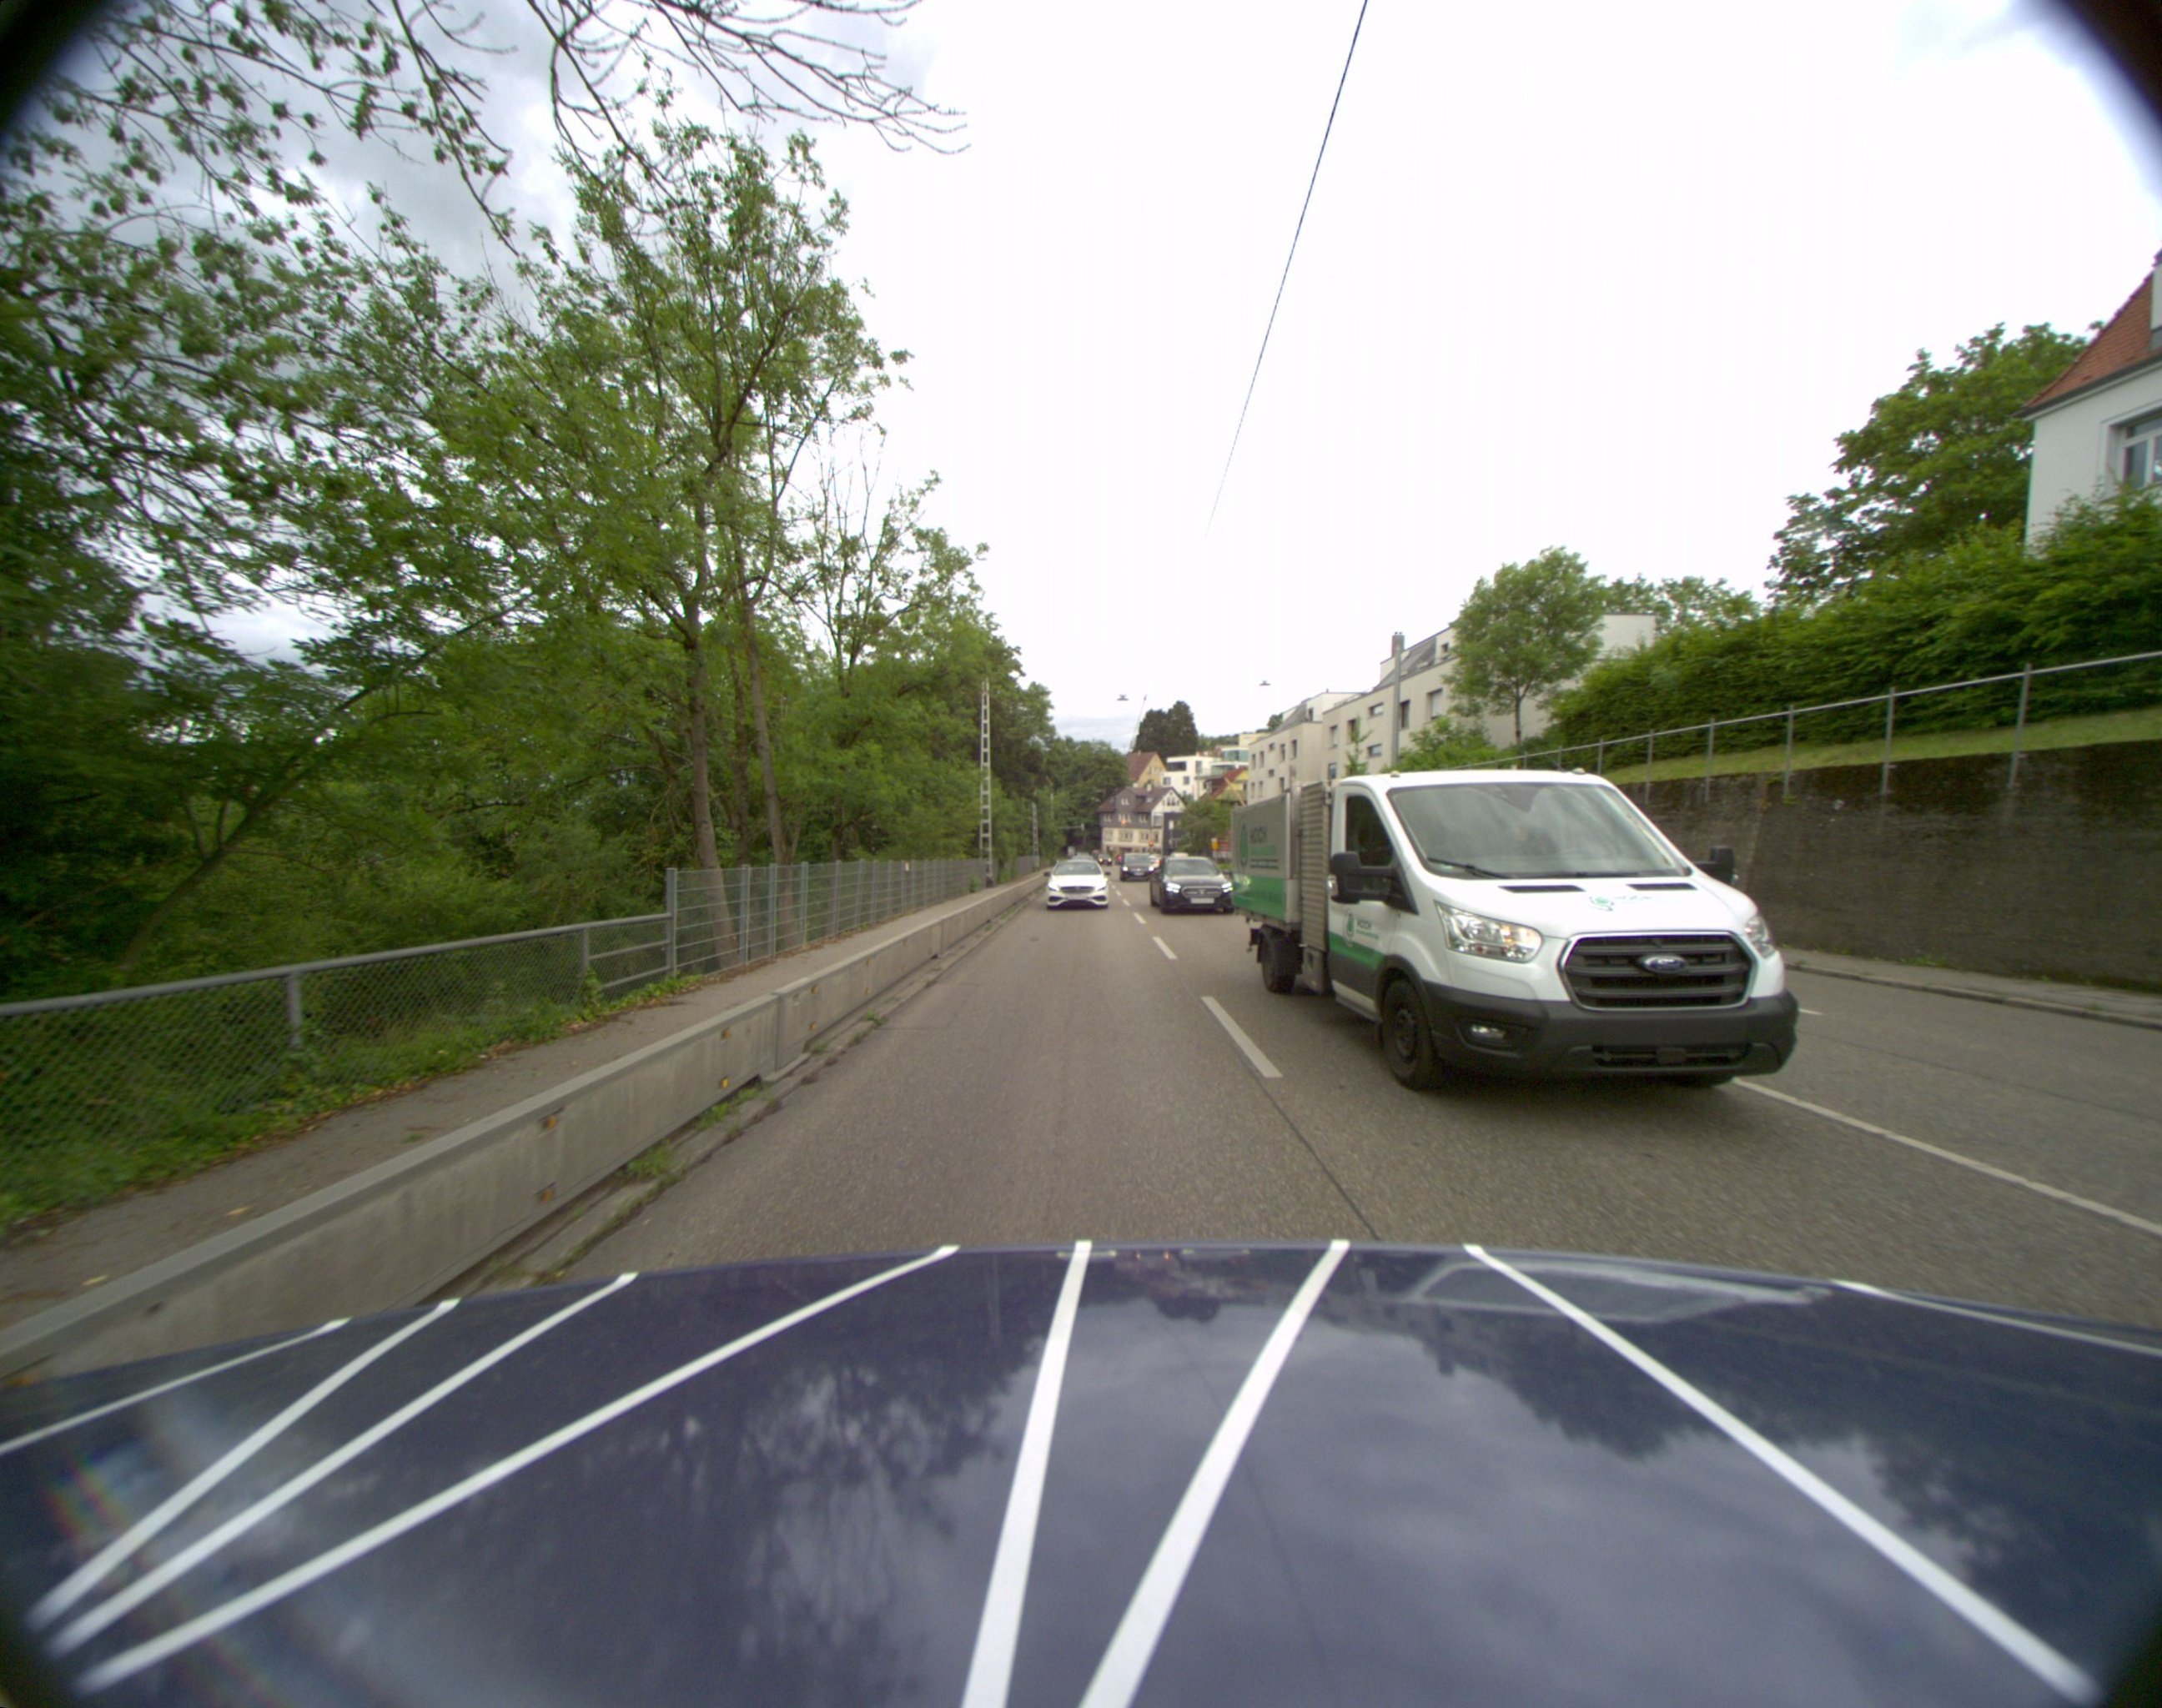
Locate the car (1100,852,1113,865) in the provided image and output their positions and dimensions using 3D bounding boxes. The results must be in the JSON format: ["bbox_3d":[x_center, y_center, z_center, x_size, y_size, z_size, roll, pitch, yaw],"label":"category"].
[{"bbox_3d":[3.364,0.565,101.519,1.709,1.702,3.868,0,0,1],"label":"car"}]

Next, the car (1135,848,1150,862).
[{"bbox_3d":[8.760,0.107,108.316,1.743,1.873,3.743,0,0,1],"label":"car"}]

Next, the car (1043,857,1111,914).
[{"bbox_3d":[-0.037,0.885,23.145,1.809,1.521,4.001,-1,1,3],"label":"car"}]

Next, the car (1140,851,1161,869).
[{"bbox_3d":[6.513,0.546,71.334,1.709,1.702,3.868,0,0,1],"label":"car"}]

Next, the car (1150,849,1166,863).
[{"bbox_3d":[10.213,0.252,100.965,1.743,1.873,3.743,0,0,1],"label":"car"}]

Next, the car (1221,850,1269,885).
[{"bbox_3d":[9.330,0.706,43.459,1.836,1.831,4.208,2,1,1],"label":"car"}]

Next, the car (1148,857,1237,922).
[{"bbox_3d":[2.944,0.887,20.880,1.878,1.521,4.335,0,1,1],"label":"car"}]

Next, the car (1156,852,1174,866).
[{"bbox_3d":[9.657,0.534,87.510,1.743,1.608,3.743,0,0,1],"label":"car"}]

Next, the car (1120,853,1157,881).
[{"bbox_3d":[3.290,0.737,44.003,1.878,1.521,4.000,0,1,1],"label":"car"}]

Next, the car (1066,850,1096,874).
[{"bbox_3d":[0.027,0.510,50.796,1.878,1.521,4.000,0,1,1],"label":"car"}]

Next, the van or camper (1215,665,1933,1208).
[{"bbox_3d":[3.010,0.377,6.761,2.349,2.646,5.963,-1,1,-2],"label":"van or camper"}]

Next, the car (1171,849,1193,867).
[{"bbox_3d":[9.999,0.395,75.455,1.709,1.702,3.868,0,0,1],"label":"car"}]
